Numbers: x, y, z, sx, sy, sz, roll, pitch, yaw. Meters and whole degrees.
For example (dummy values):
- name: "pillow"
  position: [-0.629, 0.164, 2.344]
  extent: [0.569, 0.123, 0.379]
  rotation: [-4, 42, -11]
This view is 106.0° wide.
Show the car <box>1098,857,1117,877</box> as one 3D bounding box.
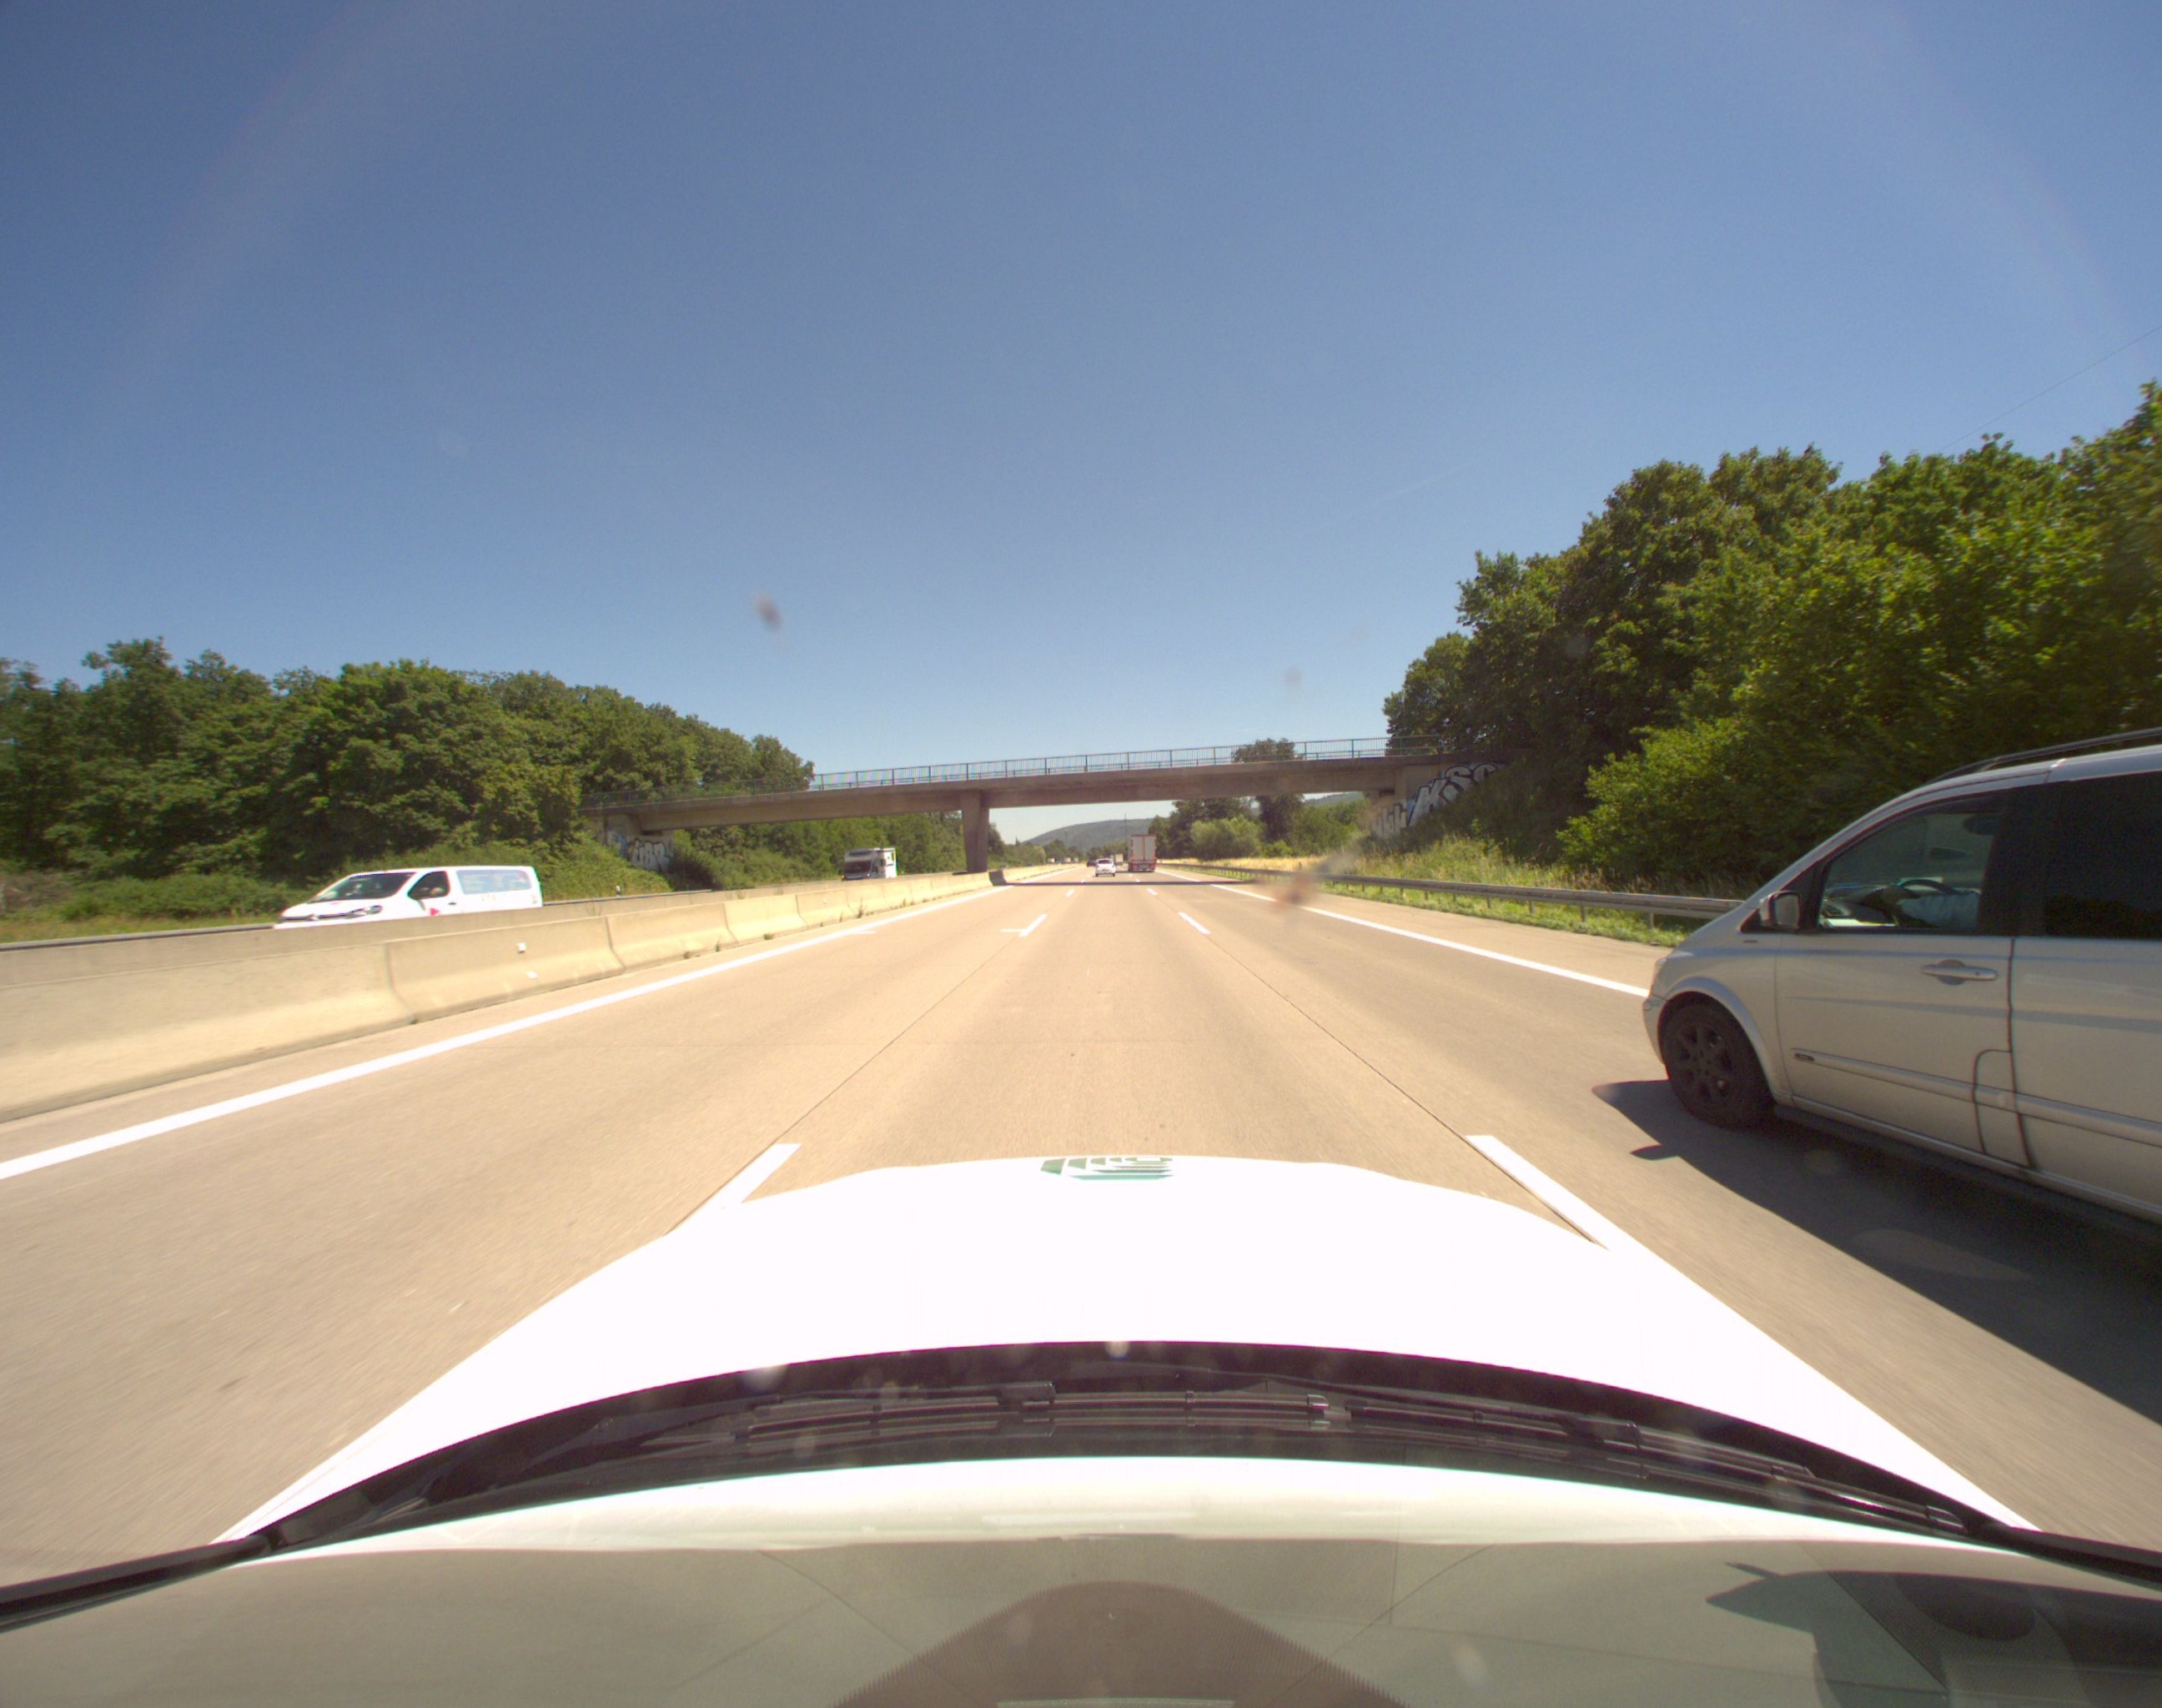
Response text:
- name: "car"
  position: [2.289, 1.079, 70.186]
  extent: [1.635, 1.662, 3.361]
  rotation: [0, 0, 2]

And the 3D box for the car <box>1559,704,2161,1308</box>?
- name: "car"
  position: [4.331, 0.462, 3.256]
  extent: [1.872, 1.889, 5.282]
  rotation: [-1, 0, 2]

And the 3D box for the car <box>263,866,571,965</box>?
- name: "car"
  position: [-13.930, 1.162, 17.752]
  extent: [1.819, 1.718, 5.795]
  rotation: [-2, 0, 2]

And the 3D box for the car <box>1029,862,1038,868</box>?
- name: "car"
  position: [-10.366, 2.338, 176.736]
  extent: [1.560, 1.319, 3.633]
  rotation: [-2, 0, 1]

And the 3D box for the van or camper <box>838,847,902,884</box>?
- name: "van or camper"
  position: [-14.712, 0.762, 57.254]
  extent: [2.240, 2.443, 7.804]
  rotation: [0, 0, 2]

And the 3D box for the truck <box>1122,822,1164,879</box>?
- name: "truck"
  position: [6.849, -0.353, 93.219]
  extent: [3.565, 5.787, 18.247]
  rotation: [-1, 0, 1]

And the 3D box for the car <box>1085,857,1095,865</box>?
- name: "car"
  position: [1.977, 1.475, 178.132]
  extent: [2.016, 1.700, 3.998]
  rotation: [0, -1, -1]
